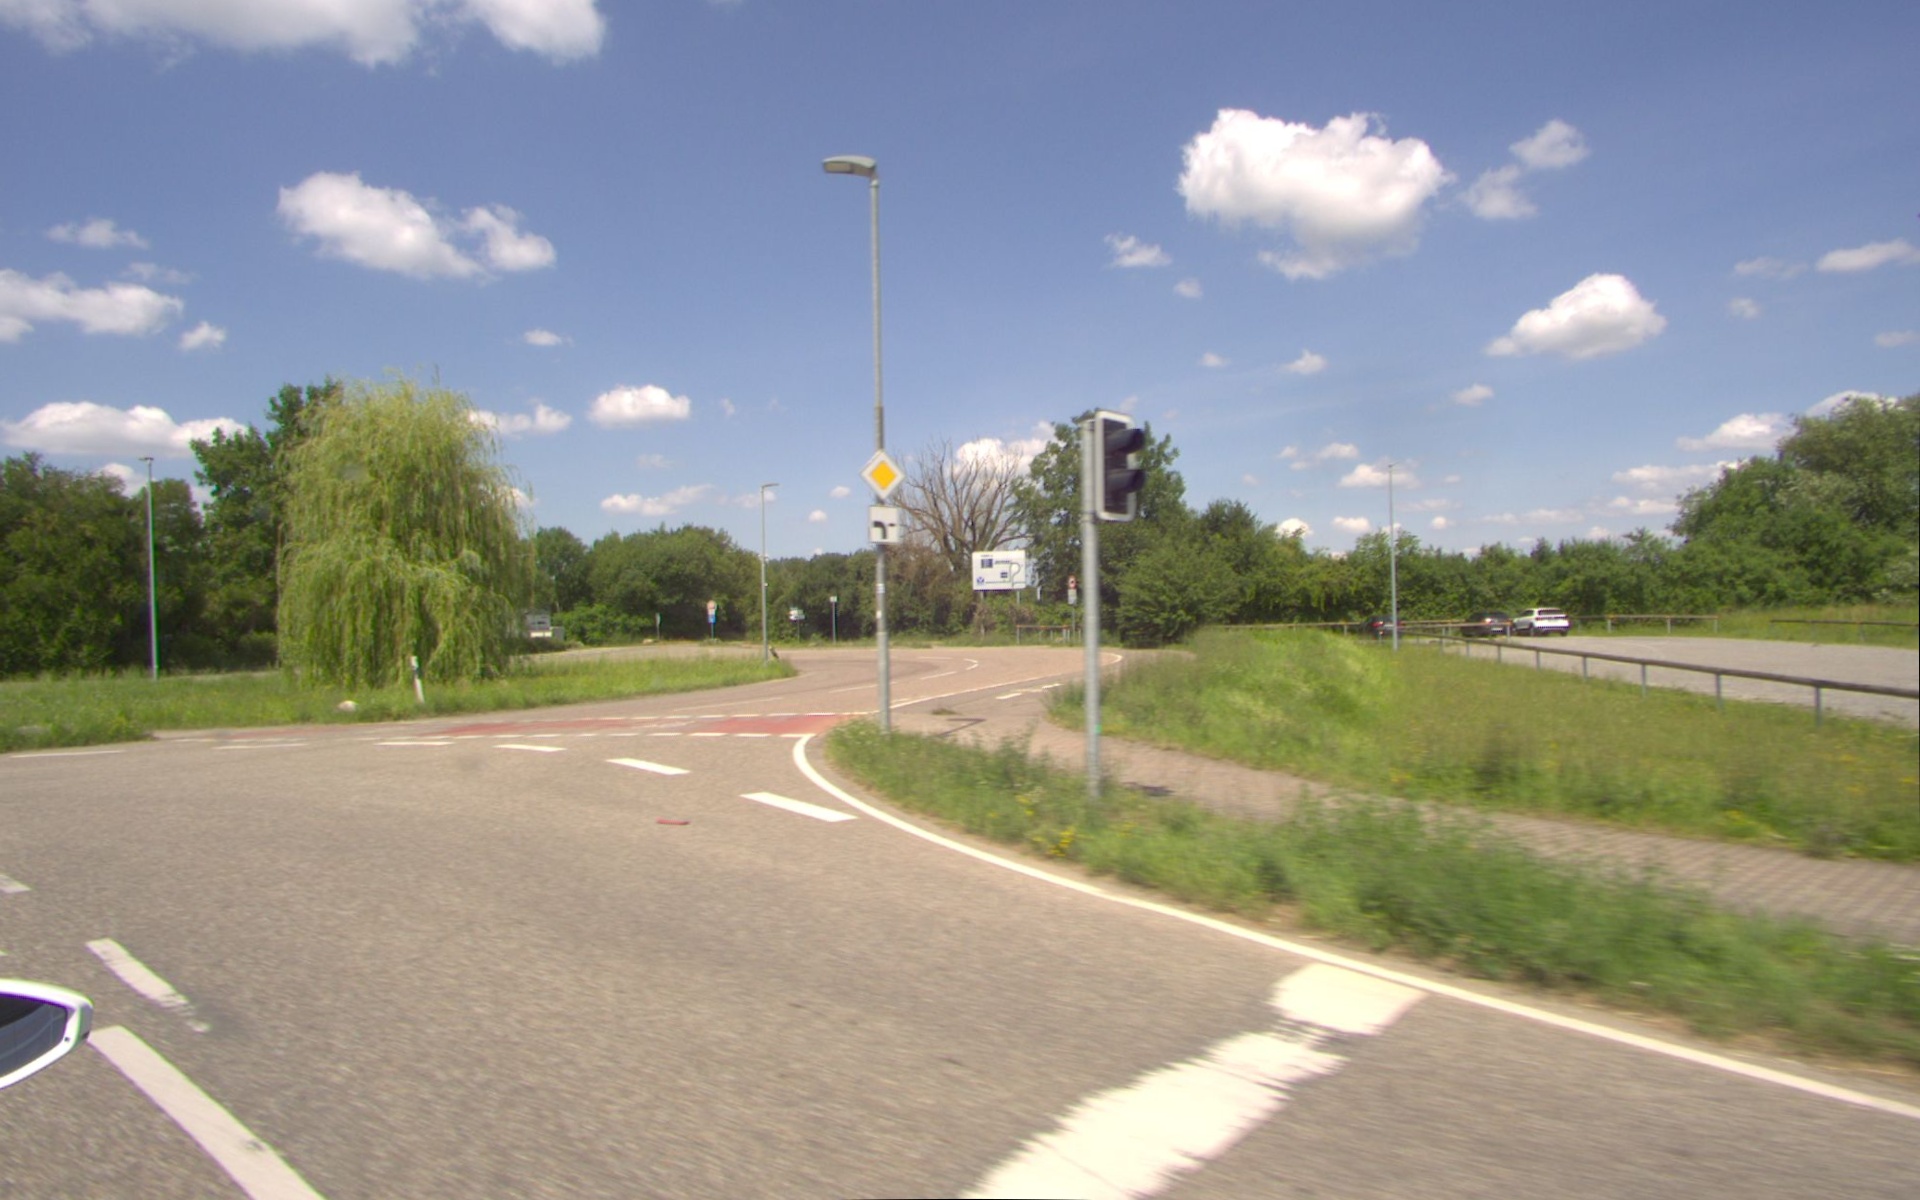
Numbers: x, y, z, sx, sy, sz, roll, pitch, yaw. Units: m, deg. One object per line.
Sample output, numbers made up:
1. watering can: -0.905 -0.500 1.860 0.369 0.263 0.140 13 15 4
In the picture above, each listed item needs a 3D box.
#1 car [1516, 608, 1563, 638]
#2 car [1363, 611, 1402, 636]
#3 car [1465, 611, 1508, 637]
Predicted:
1. car: 31.612 1.282 54.683 1.392 1.523 3.117 -2 -2 14
2. car: 23.867 1.345 56.600 1.392 1.354 3.118 -2 -3 11
3. car: 28.896 1.358 55.005 1.393 1.354 3.116 -2 -3 15
